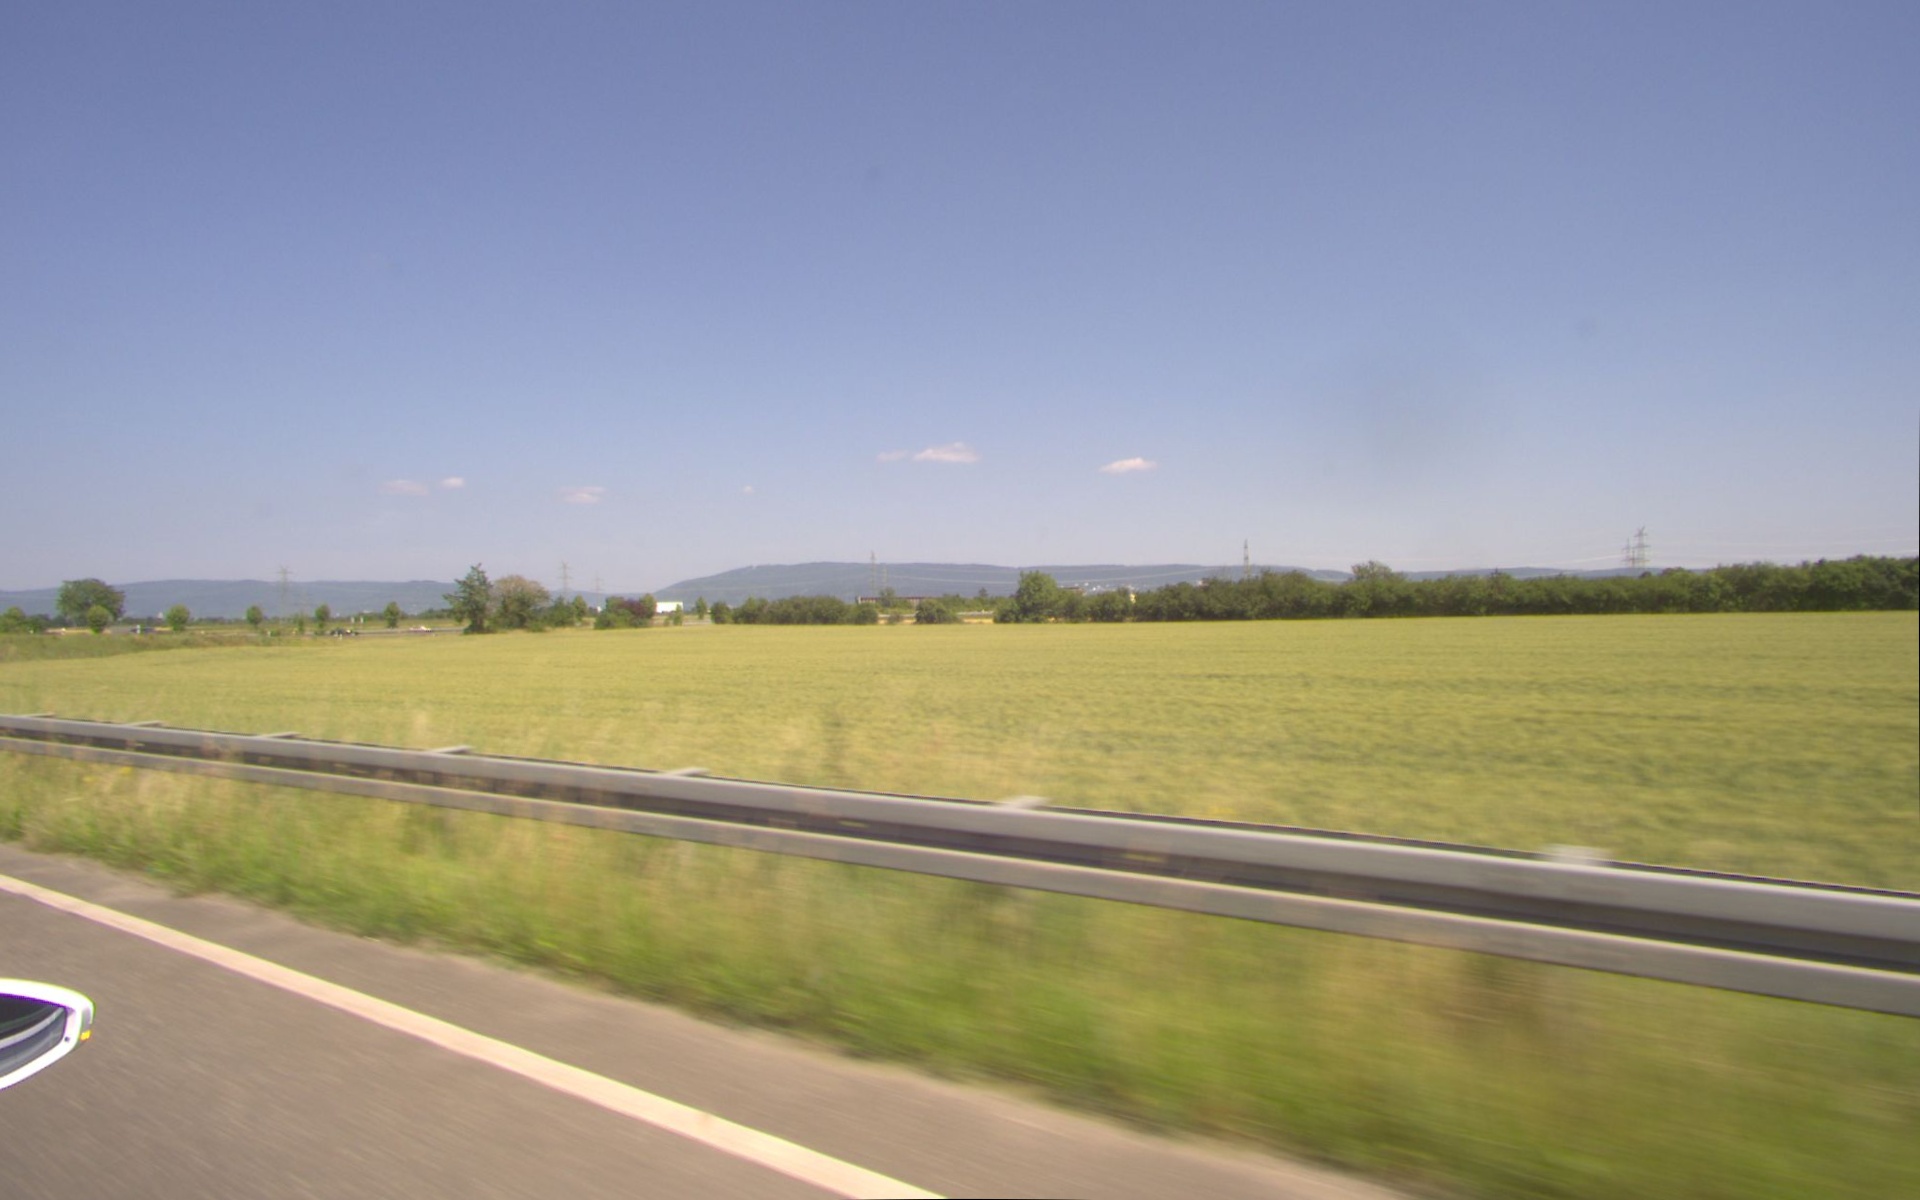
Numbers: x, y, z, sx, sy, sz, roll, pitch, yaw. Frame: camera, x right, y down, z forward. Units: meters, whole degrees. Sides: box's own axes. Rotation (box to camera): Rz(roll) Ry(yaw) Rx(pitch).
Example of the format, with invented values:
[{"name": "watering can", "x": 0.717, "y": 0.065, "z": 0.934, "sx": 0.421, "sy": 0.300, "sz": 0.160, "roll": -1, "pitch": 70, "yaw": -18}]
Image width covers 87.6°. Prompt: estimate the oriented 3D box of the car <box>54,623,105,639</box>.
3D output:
[{"name": "car", "x": -84.870, "y": 2.978, "z": 96.578, "sx": 1.617, "sy": 1.505, "sz": 3.486, "roll": -1, "pitch": -2, "yaw": 6}]
